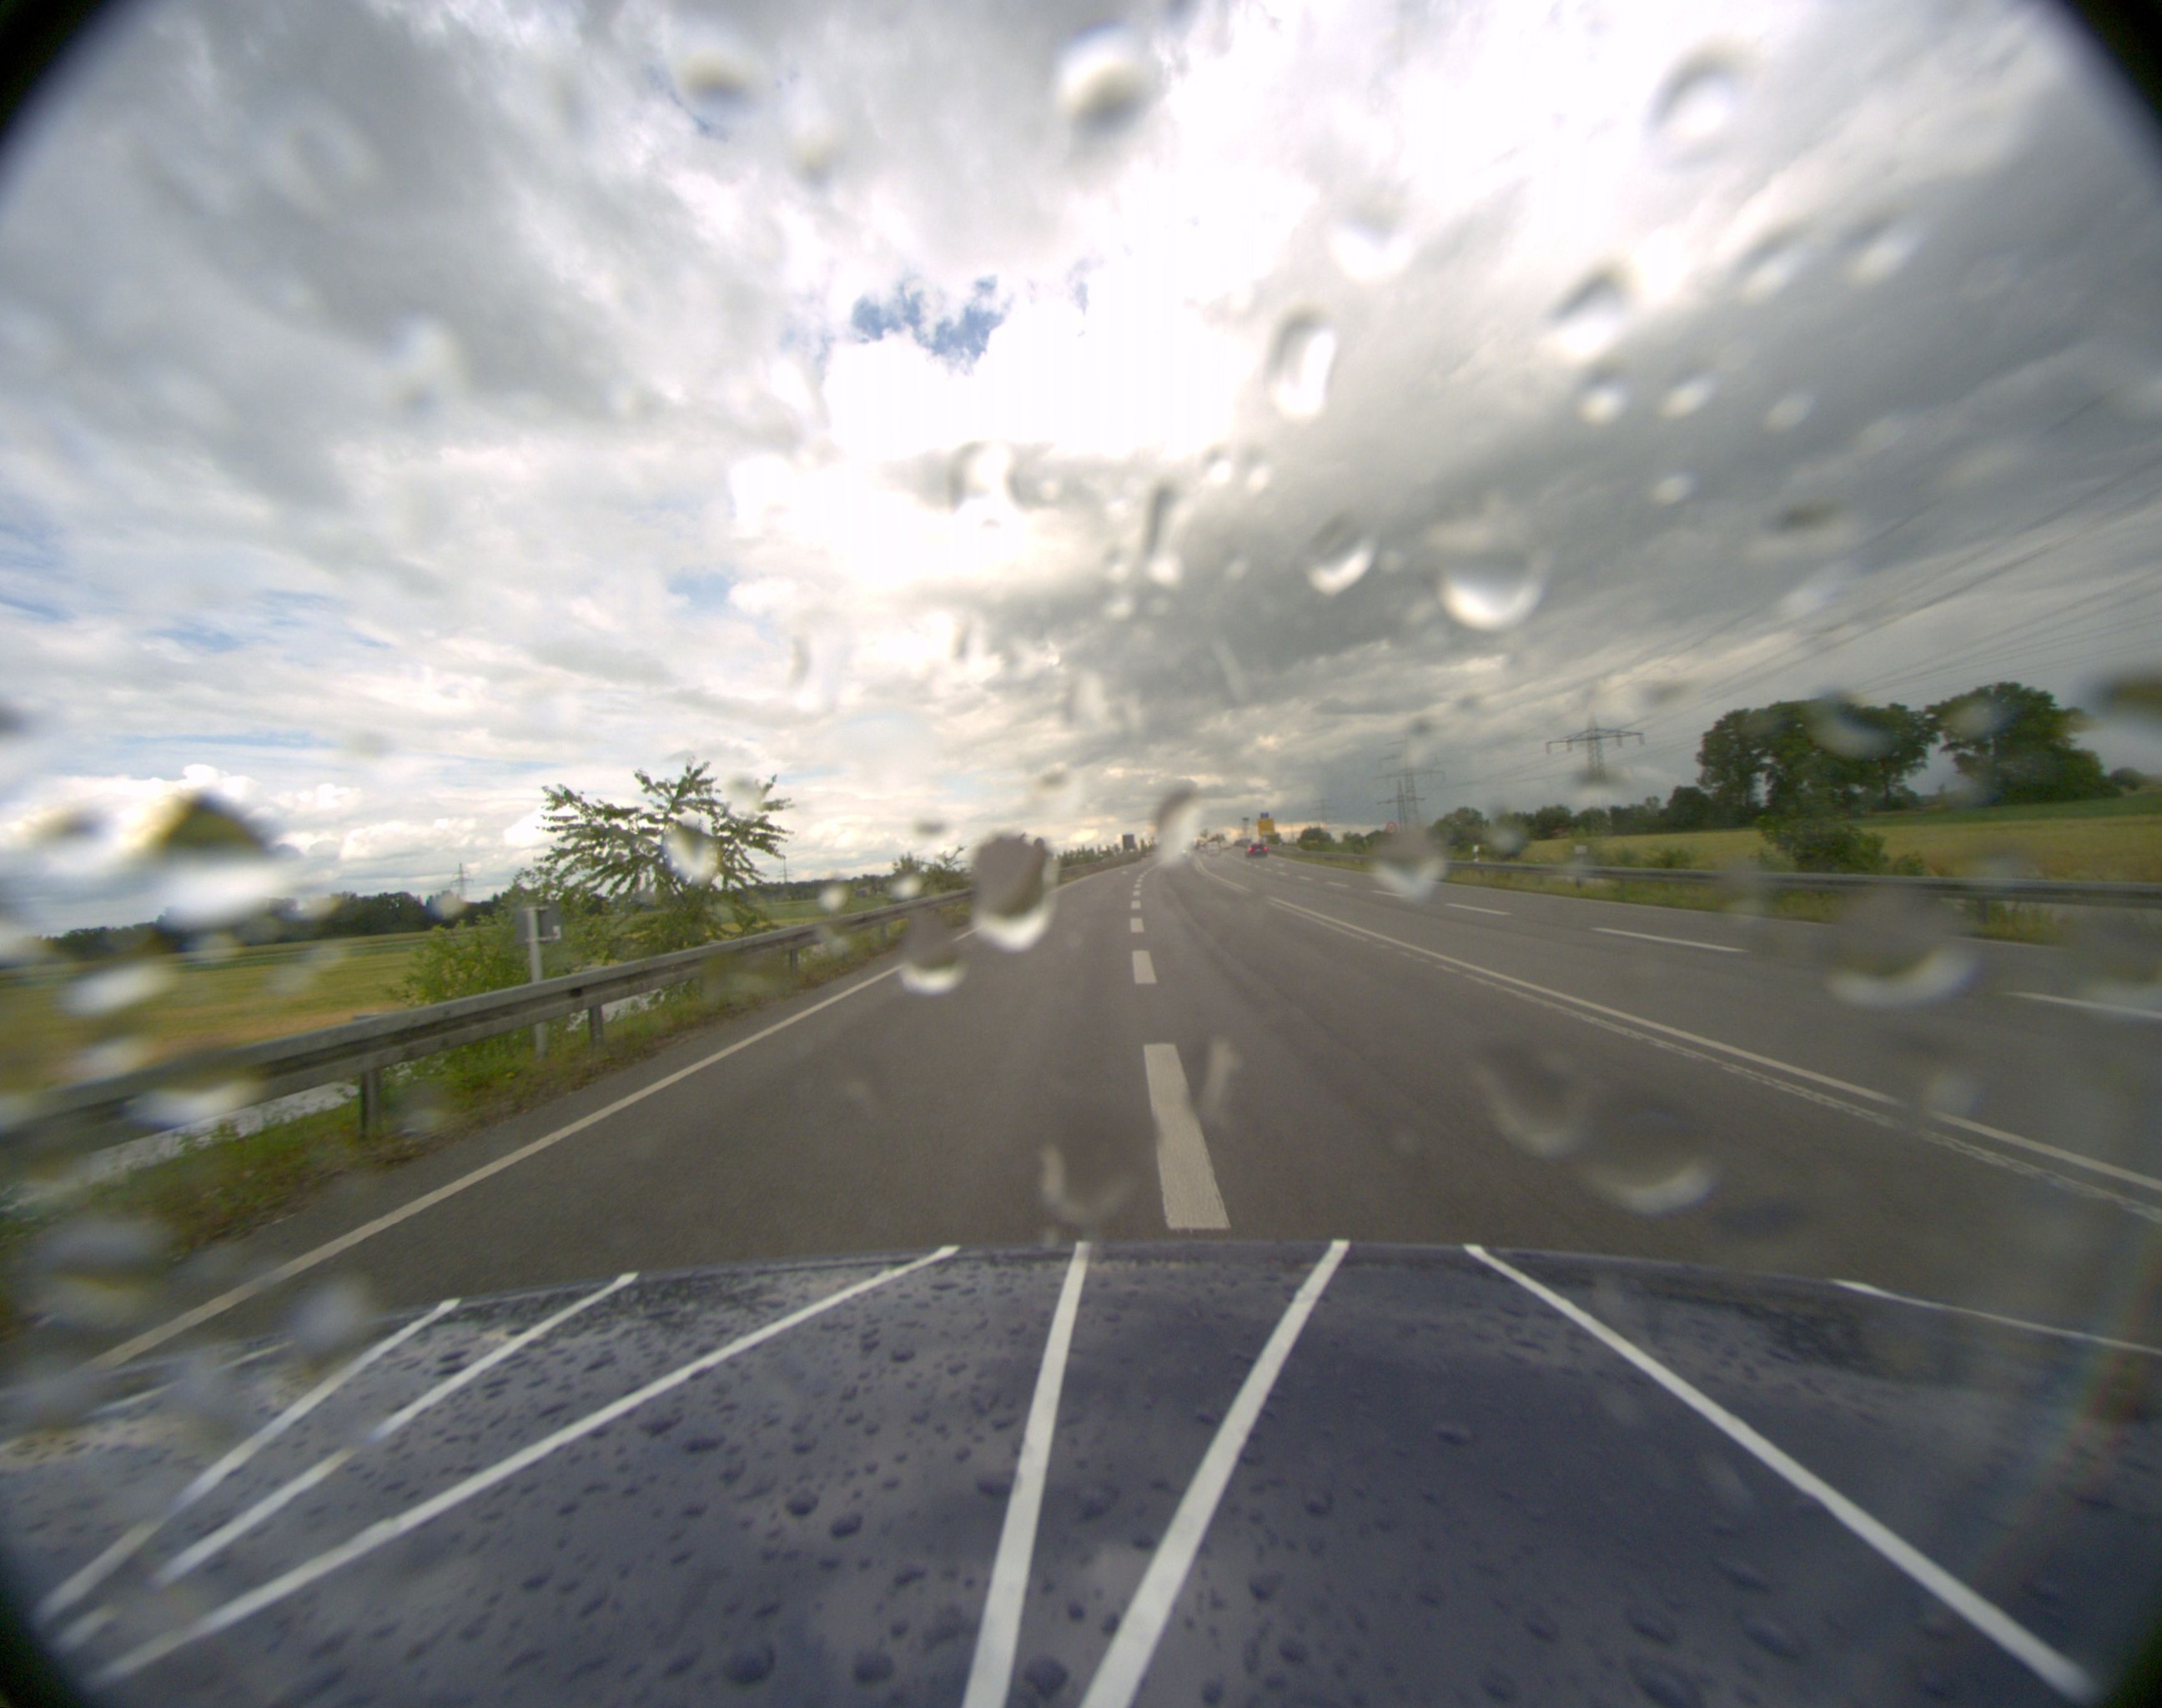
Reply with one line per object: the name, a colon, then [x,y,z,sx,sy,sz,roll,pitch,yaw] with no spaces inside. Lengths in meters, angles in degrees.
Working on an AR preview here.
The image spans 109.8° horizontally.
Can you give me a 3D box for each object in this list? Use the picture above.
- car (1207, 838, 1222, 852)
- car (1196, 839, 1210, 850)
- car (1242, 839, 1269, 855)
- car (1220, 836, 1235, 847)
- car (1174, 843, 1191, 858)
car: [16.058,-1.115,91.459,1.793,1.656,4.372,-1,1,10]
car: [18.368,-1.451,114.086,1.769,1.491,4.213,-2,1,13]
car: [16.815,-0.728,73.392,1.900,1.433,4.901,-2,1,5]
car: [24.139,-2.038,125.285,1.947,1.651,4.647,-5,1,7]
car: [13.053,-0.391,97.737,1.794,1.758,4.004,-4,-1,10]
